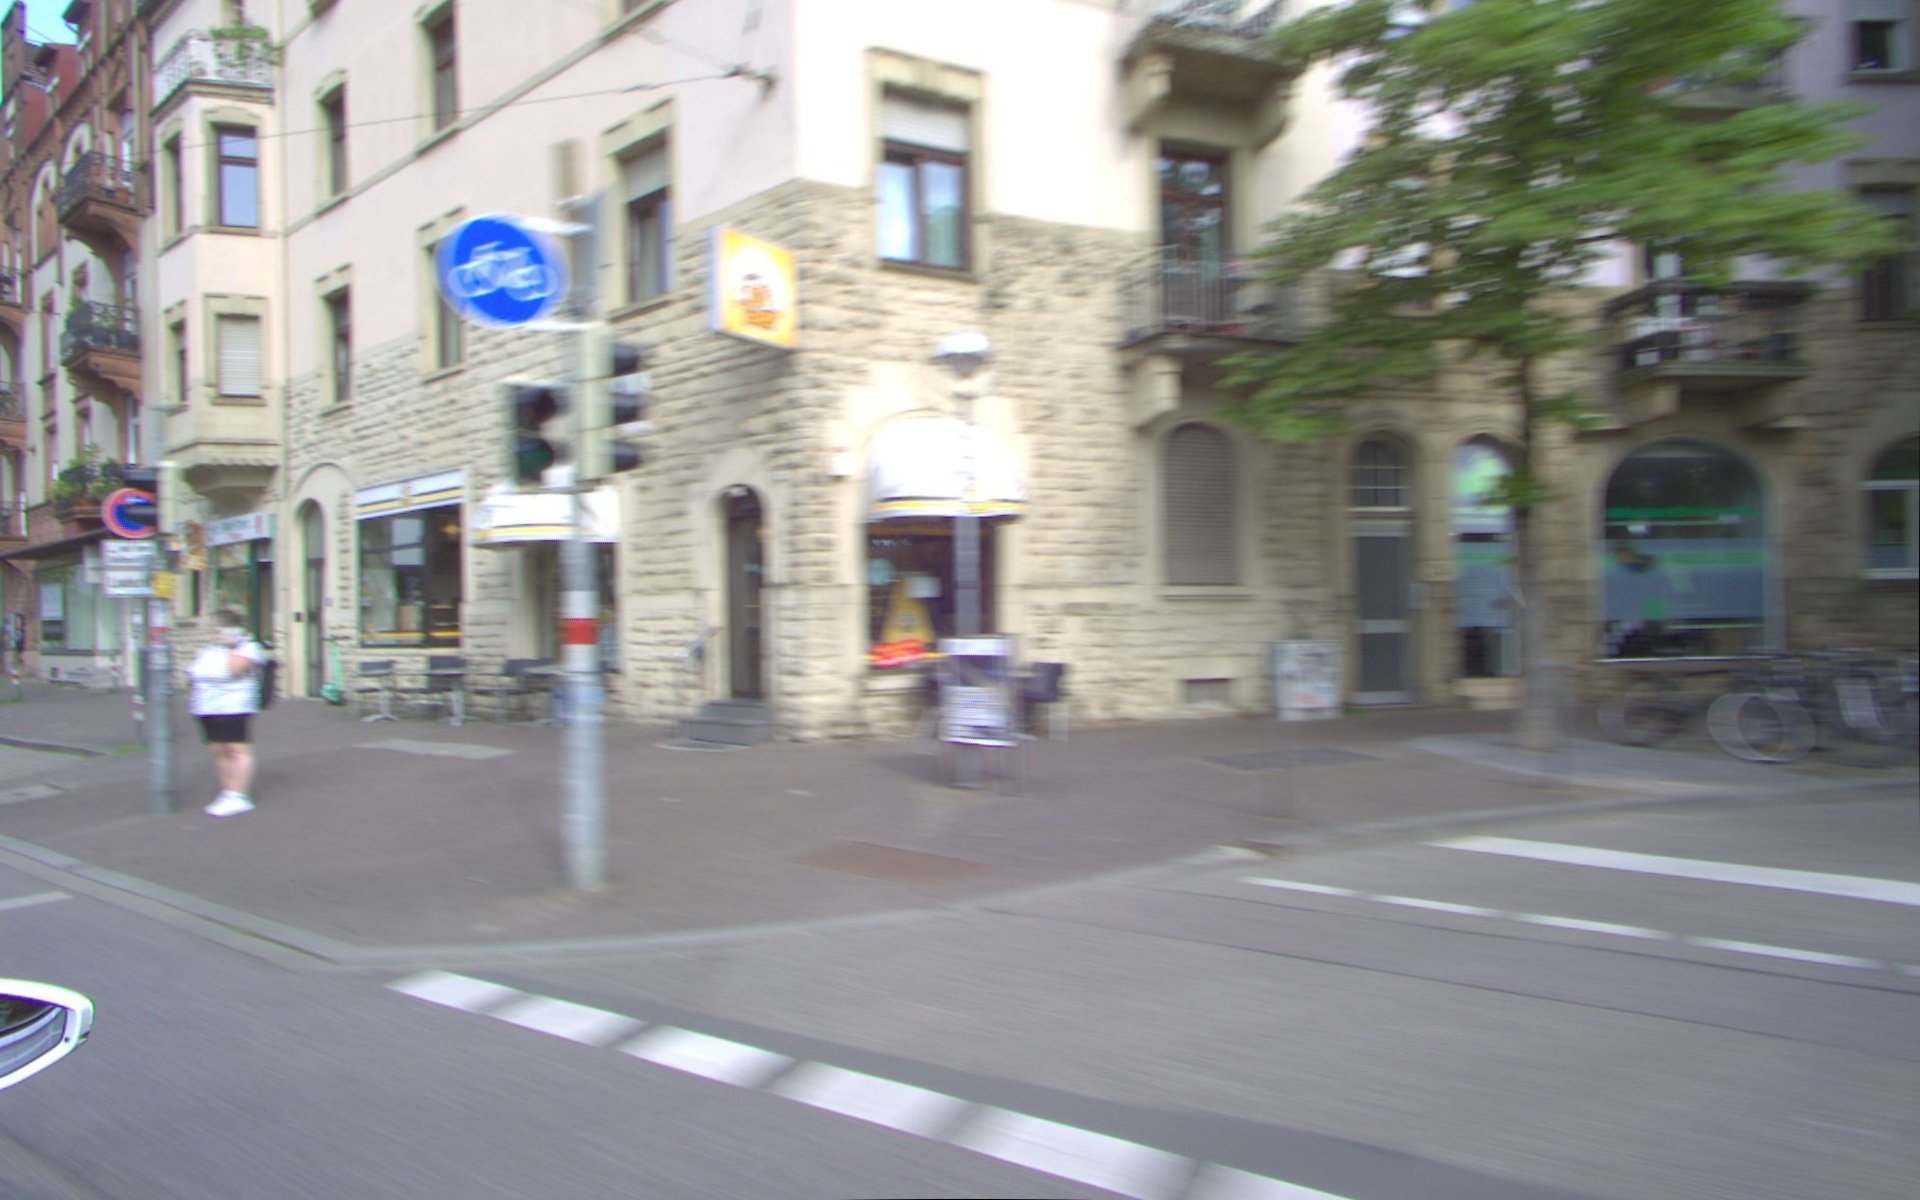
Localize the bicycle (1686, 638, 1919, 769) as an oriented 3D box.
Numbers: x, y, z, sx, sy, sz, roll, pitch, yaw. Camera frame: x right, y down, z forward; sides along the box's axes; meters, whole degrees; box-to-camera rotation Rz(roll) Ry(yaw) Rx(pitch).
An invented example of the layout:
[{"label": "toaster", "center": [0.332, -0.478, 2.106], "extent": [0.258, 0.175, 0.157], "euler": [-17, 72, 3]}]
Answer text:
[{"label": "bicycle", "center": [8.001, 0.913, 9.340], "extent": [0.475, 1.052, 2.042], "euler": [0, 0, -23]}]

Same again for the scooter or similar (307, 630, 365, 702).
[{"label": "scooter or similar", "center": [-10.643, 1.107, 17.064], "extent": [1.181, 1.183, 0.395], "euler": [-1, 2, 37]}]

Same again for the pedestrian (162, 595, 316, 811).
[{"label": "pedestrian", "center": [-6.065, 0.827, 8.435], "extent": [0.749, 1.683, 0.717], "euler": [-1, 4, 33]}]

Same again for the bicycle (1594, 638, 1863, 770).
[{"label": "bicycle", "center": [7.134, 0.913, 9.443], "extent": [0.475, 1.052, 2.042], "euler": [0, 0, -23]}]

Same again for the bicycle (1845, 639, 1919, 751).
[{"label": "bicycle", "center": [9.422, 0.912, 9.325], "extent": [0.474, 1.052, 1.790], "euler": [0, 0, -16]}]
